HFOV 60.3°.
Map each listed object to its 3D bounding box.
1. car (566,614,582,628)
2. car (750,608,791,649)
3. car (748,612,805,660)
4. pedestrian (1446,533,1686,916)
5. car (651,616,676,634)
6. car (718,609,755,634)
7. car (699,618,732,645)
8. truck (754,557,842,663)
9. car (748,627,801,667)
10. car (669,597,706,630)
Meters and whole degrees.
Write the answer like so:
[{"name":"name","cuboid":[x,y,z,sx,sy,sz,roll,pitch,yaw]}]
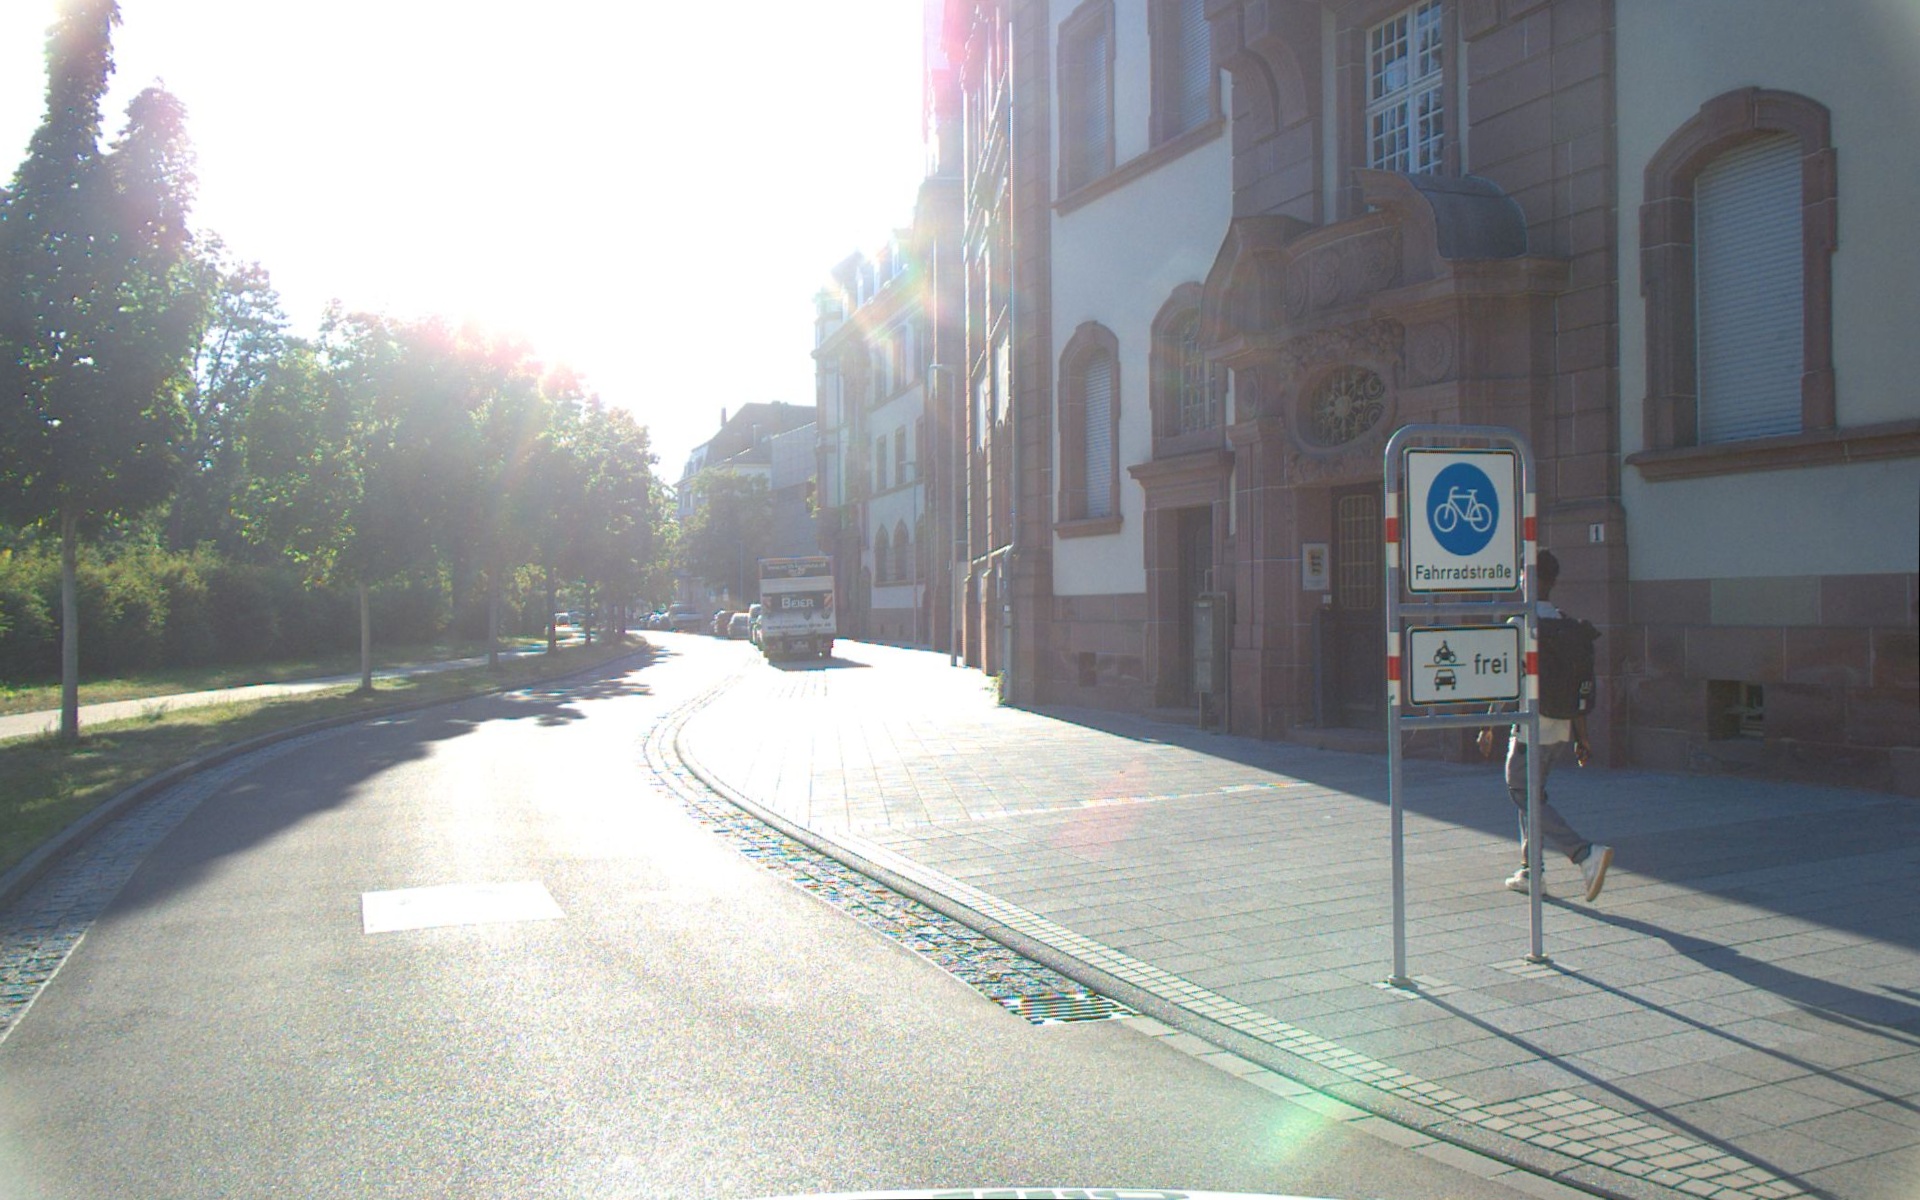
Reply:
[{"name":"car","cuboid":[-51.922,2.827,222.460,1.765,1.755,3.981,-1,0,-17]},{"name":"car","cuboid":[-10.208,1.556,88.810,1.957,2.000,4.839,-4,-1,-8]},{"name":"car","cuboid":[-6.583,1.266,59.084,1.736,1.557,4.562,-3,0,-9]},{"name":"pedestrian","cuboid":[2.980,0.573,8.202,0.525,1.748,0.996,-3,1,-22]},{"name":"car","cuboid":[-26.723,2.241,148.876,1.665,1.466,3.531,-1,0,-18]},{"name":"car","cuboid":[-13.589,1.277,100.216,1.718,1.492,4.460,0,0,-15]},{"name":"car","cuboid":[-16.319,2.072,110.381,1.696,1.698,4.097,-2,0,-15]},{"name":"truck","cuboid":[-5.271,0.309,53.085,2.574,3.175,6.076,0,0,-8]},{"name":"car","cuboid":[-7.620,1.894,67.516,1.838,1.461,4.511,-2,0,-10]},{"name":"car","cuboid":[-22.841,1.105,138.463,2.176,2.574,6.118,-3,0,-17]}]
